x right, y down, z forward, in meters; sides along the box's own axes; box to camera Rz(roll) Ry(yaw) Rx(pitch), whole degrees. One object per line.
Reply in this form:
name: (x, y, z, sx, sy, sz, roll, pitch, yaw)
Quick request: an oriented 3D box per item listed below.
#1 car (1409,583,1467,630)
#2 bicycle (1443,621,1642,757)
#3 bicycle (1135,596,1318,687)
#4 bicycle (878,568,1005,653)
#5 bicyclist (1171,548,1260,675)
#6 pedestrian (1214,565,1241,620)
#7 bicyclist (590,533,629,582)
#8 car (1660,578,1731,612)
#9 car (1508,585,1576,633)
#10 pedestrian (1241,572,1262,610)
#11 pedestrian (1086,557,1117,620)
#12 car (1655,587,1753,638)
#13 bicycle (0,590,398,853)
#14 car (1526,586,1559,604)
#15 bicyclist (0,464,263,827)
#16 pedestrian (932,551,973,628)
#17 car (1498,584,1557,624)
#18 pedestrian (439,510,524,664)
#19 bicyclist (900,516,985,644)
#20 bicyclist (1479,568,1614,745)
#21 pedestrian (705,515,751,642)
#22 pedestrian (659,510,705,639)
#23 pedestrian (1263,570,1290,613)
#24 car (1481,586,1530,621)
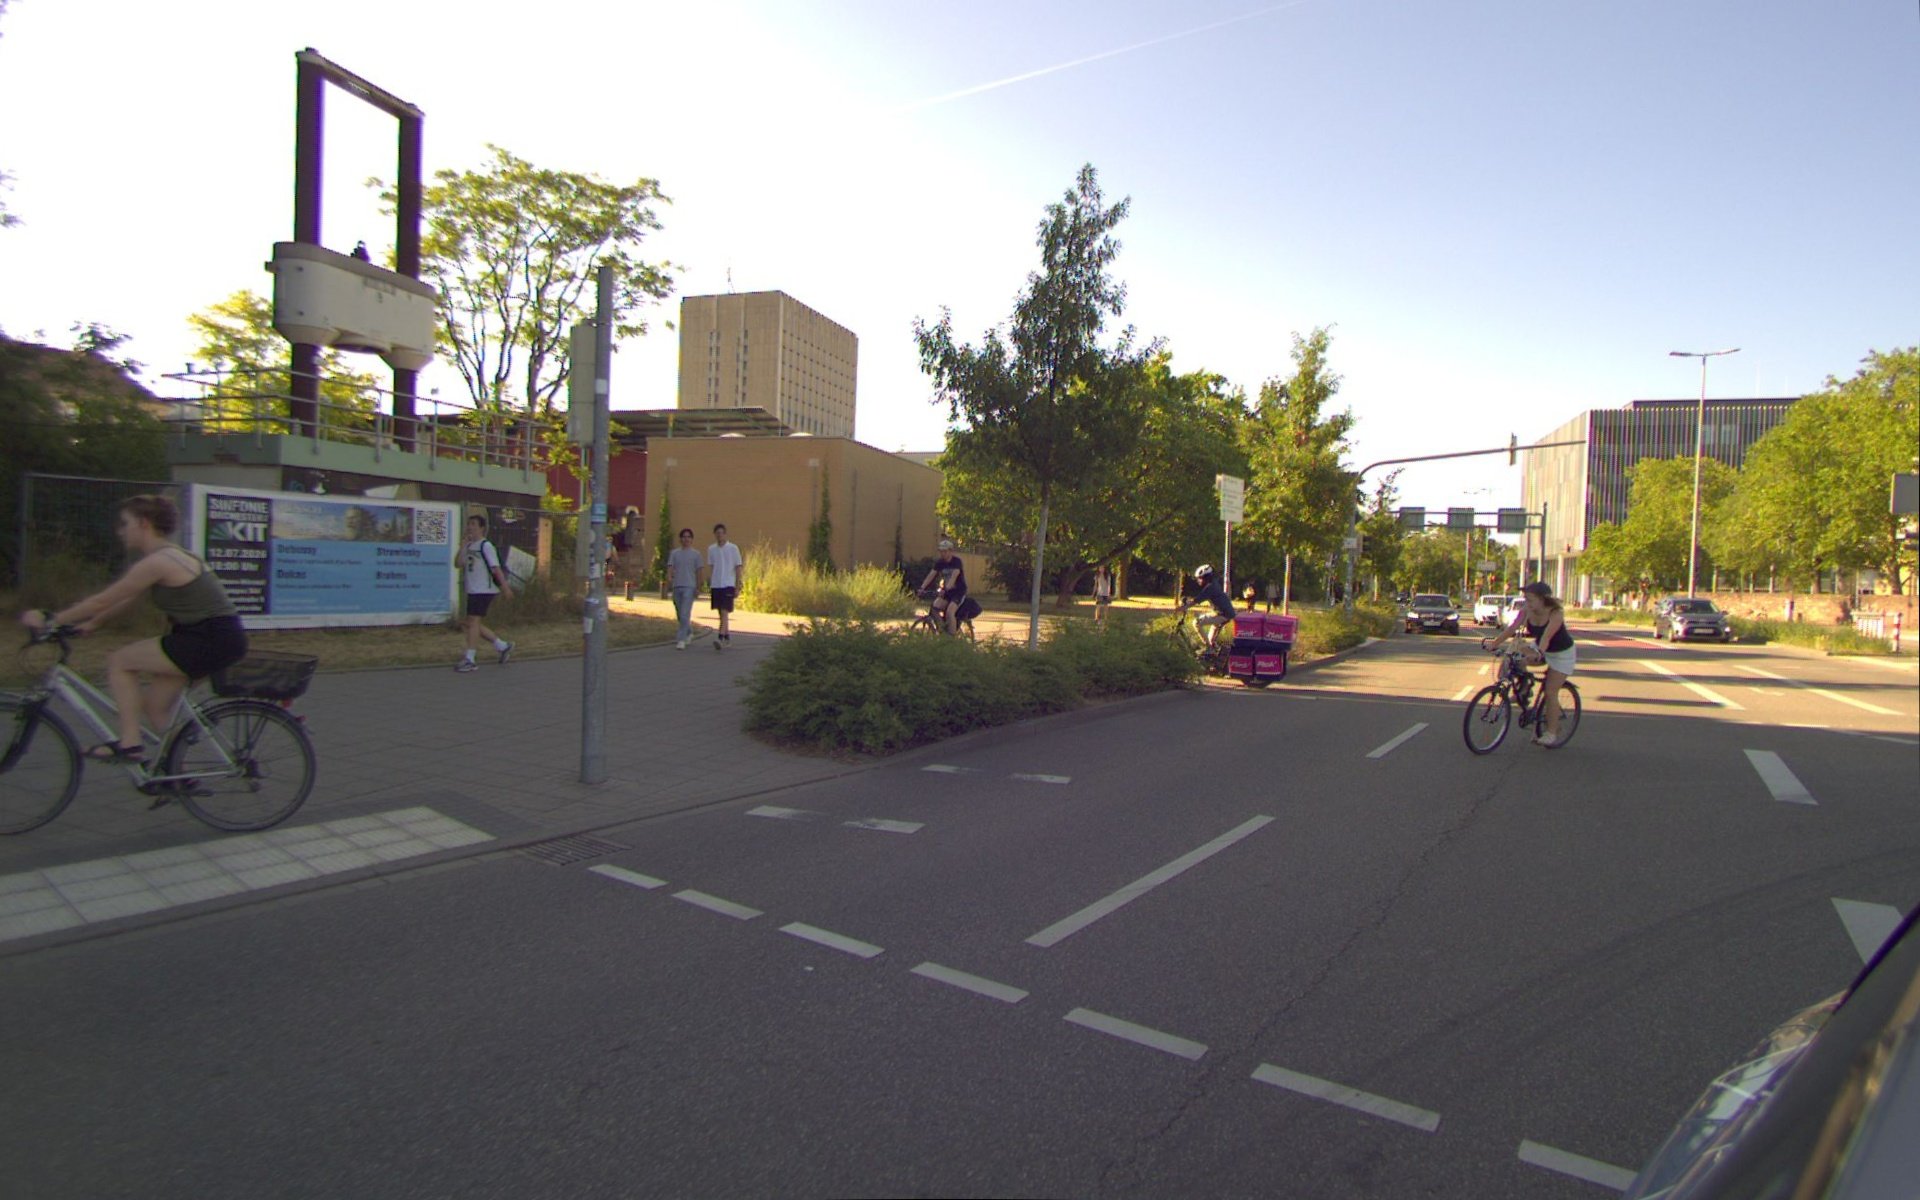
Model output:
car: (17.502, 0.185, 37.033, 1.786, 1.537, 3.964, 3, 2, 26)
bicycle: (5.477, 0.785, 9.498, 1.830, 1.135, 0.720, 0, 0, -26)
bicycle: (4.037, 0.589, 15.471, 2.563, 1.170, 0.771, 3, 2, 34)
bicycle: (-0.233, 0.129, 15.342, 0.775, 1.170, 2.264, 3, 2, 32)
bicyclist: (3.929, 0.152, 15.548, 1.085, 1.856, 0.771, 3, 2, 33)
pedestrian: (8.576, -0.252, 32.446, 0.705, 1.734, 0.728, 2, 1, 23)
bicyclist: (-10.758, -1.301, 31.056, 0.906, 1.453, 0.619, 2, -1, 19)
car: (40.247, -0.290, 55.517, 1.976, 1.705, 4.597, 2, 2, 21)
car: (21.031, 0.270, 36.687, 1.786, 1.537, 4.392, 3, 2, 26)
pedestrian: (12.439, -0.376, 43.157, 0.753, 1.562, 0.842, 3, 2, 18)
pedestrian: (4.022, -0.337, 28.697, 0.667, 1.725, 0.872, 2, 1, 18)
car: (25.097, 0.354, 34.282, 1.907, 1.537, 3.981, 3, 2, 26)
bicycle: (-4.257, 0.594, 5.203, 2.243, 1.169, 0.783, 3, 3, -15)
car: (54.469, -0.483, 94.726, 1.976, 1.615, 3.973, 2, 2, 21)
bicyclist: (-4.336, 0.201, 5.152, 1.070, 1.697, 0.783, 3, 3, -15)
pedestrian: (-0.159, -0.224, 21.563, 0.616, 1.594, 0.634, 2, 1, 23)
car: (24.134, 0.122, 43.158, 1.907, 1.537, 3.981, 3, 2, 26)
pedestrian: (-5.537, -0.162, 11.715, 0.618, 1.720, 0.623, 3, 1, 32)
bicyclist: (-0.260, -0.310, 15.289, 0.775, 1.853, 1.080, 3, 2, 33)
bicyclist: (5.503, 0.512, 9.507, 0.832, 1.568, 0.718, 3, -1, -26)
pedestrian: (-3.529, -0.327, 15.393, 0.609, 1.892, 0.578, 1, 1, -16)
pedestrian: (-4.196, -0.385, 15.279, 0.609, 1.892, 0.578, 1, 1, -16)
pedestrian: (13.446, -0.373, 43.045, 1.005, 1.771, 0.845, 3, 1, 18)
car: (26.554, 0.122, 49.358, 1.907, 1.537, 3.981, 3, 2, 26)
